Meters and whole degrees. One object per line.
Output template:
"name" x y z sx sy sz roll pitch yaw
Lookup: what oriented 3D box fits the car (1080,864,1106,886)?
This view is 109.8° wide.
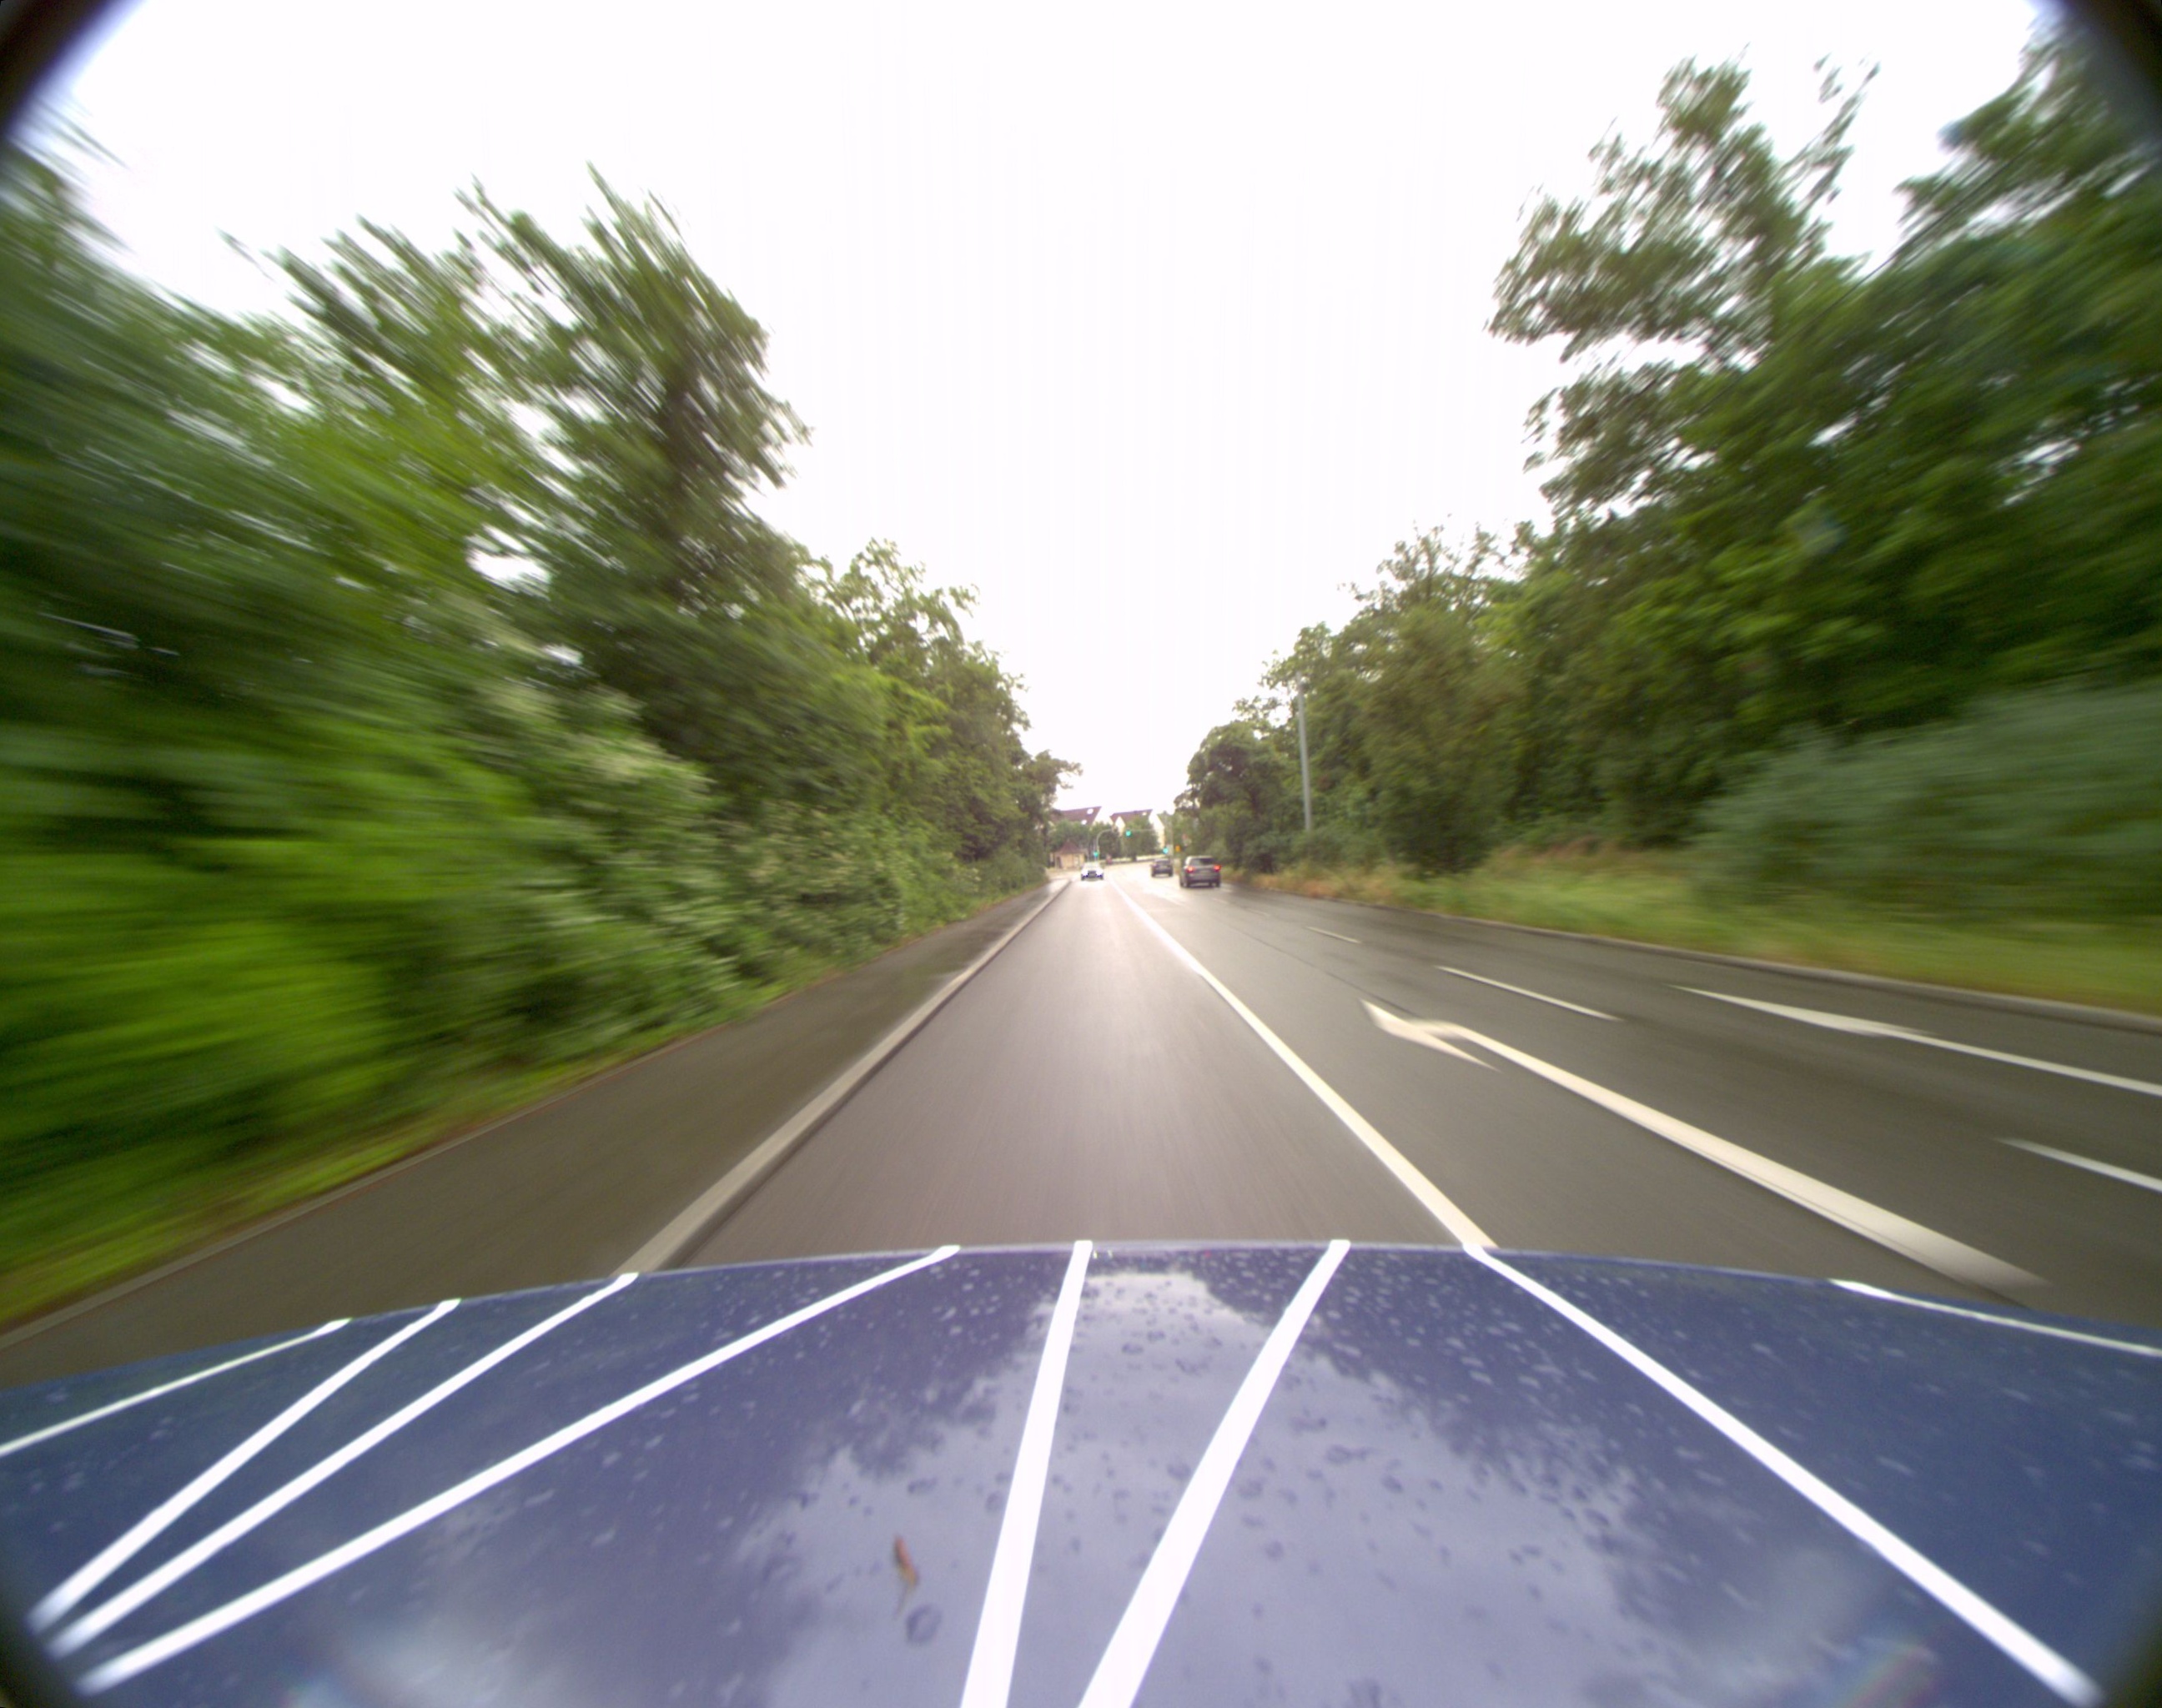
"car" 1.009 1.639 60.919 1.944 1.446 4.604 -3 1 2

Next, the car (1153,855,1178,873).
"car" 7.109 0.804 64.064 1.603 1.432 3.991 -2 0 0

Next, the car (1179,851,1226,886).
"car" 6.259 0.721 39.634 1.776 1.601 4.084 -3 0 1
